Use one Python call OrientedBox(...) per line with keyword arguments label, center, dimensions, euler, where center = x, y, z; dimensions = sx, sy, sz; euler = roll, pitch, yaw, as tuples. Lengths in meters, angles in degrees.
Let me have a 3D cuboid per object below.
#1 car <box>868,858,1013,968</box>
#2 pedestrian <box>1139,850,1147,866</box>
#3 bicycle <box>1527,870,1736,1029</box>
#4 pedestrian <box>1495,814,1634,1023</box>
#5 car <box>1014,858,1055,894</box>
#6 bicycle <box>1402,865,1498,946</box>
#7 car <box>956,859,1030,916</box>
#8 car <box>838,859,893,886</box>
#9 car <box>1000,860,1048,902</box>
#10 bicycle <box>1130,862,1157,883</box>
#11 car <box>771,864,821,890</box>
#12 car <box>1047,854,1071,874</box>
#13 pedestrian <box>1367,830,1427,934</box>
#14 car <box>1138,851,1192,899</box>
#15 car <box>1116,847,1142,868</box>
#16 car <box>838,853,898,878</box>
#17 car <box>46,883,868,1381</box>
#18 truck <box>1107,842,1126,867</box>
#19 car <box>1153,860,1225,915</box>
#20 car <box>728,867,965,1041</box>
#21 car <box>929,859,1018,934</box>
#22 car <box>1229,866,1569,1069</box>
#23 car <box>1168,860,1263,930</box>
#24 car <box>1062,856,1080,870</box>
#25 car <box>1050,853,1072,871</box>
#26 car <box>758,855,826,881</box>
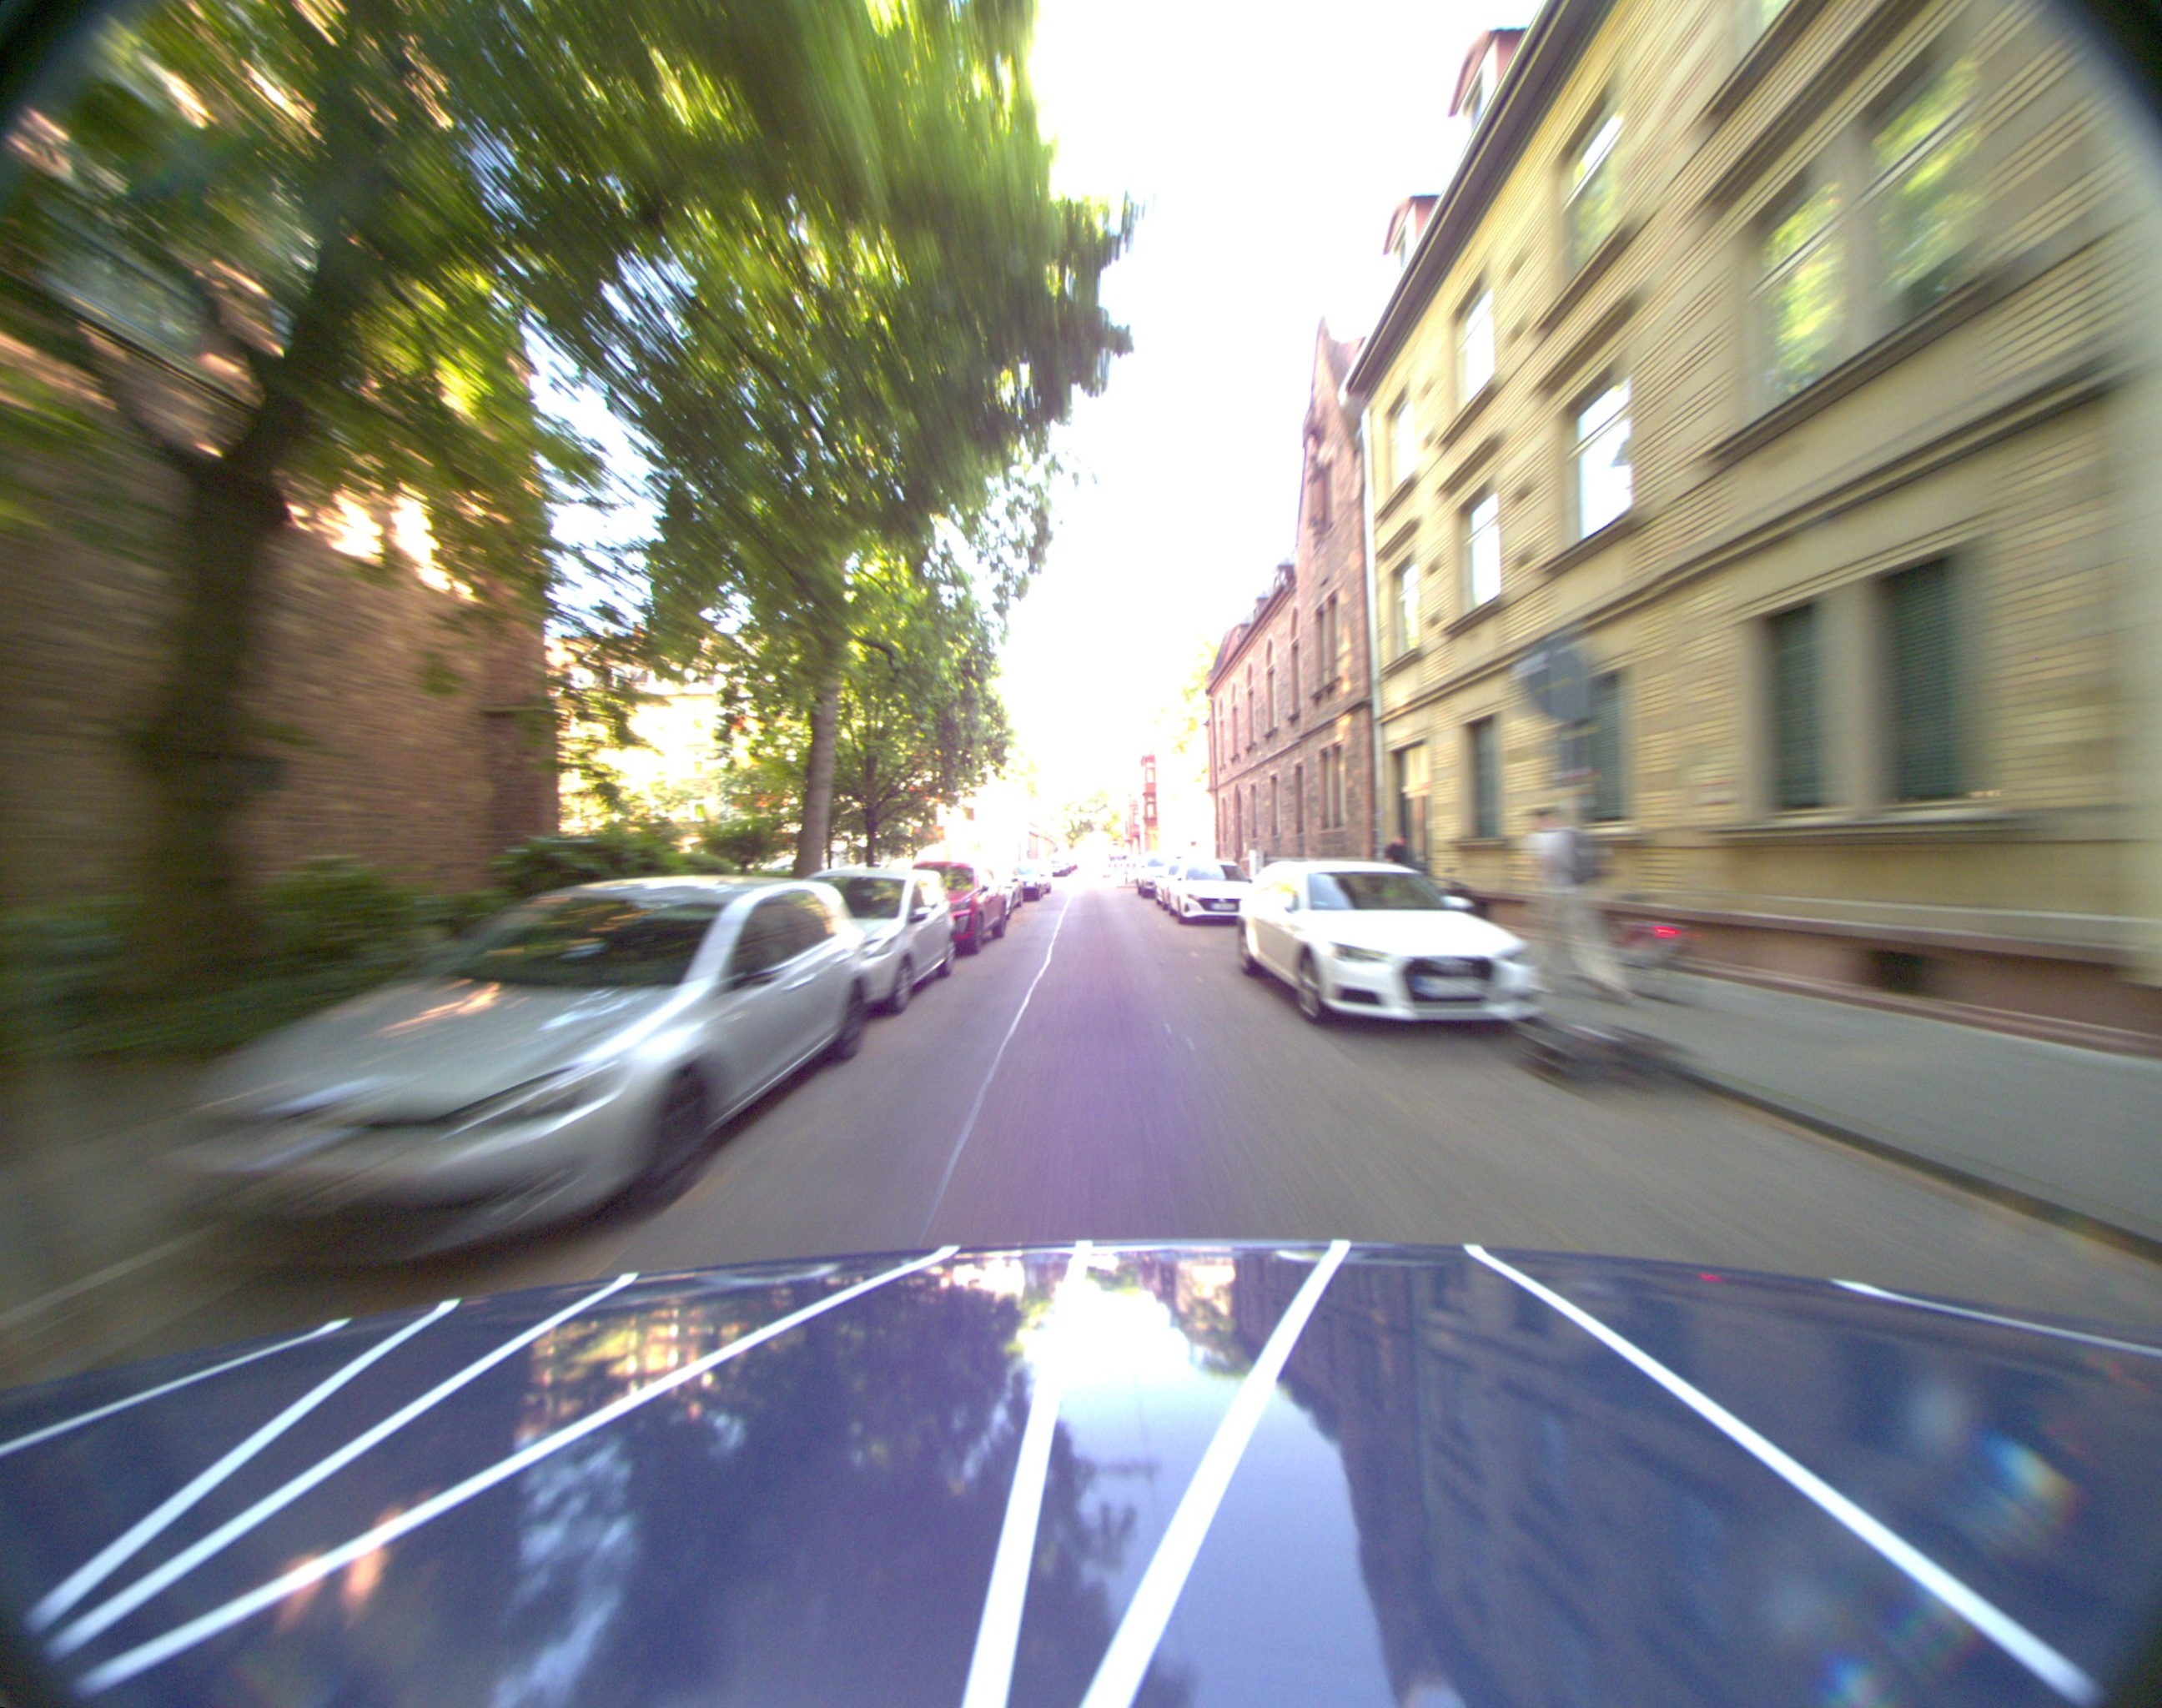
OrientedBox(label="car", center=(-2.410, 0.949, 14.073), dimensions=(1.668, 1.577, 4.100), euler=(3, 1, 3))
OrientedBox(label="pedestrian", center=(6.334, 0.416, 78.023), dimensions=(0.670, 1.585, 0.597), euler=(-2, 0, -3))
OrientedBox(label="bicycle", center=(5.095, 0.809, 7.207), dimensions=(0.572, 1.236, 1.844), euler=(-5, 0, 0))
OrientedBox(label="pedestrian", center=(4.515, 0.564, 7.177), dimensions=(0.489, 1.793, 1.115), euler=(-4, 1, -1))
OrientedBox(label="car", center=(-2.100, 0.958, 35.335), dimensions=(1.713, 1.511, 3.831), euler=(0, 1, -1))
OrientedBox(label="bicycle", center=(5.925, 0.783, 12.312), dimensions=(0.572, 1.141, 1.844), euler=(-5, 0, 0))
OrientedBox(label="car", center=(-2.709, 0.981, 24.207), dimensions=(1.668, 1.511, 4.060), euler=(3, 1, 2))
OrientedBox(label="car", center=(-12.831, 1.052, 45.018), dimensions=(1.785, 1.423, 4.404), euler=(-3, 2, -34))
OrientedBox(label="car", center=(-2.178, 1.007, 29.850), dimensions=(1.625, 1.428, 4.002), euler=(0, 1, -1))
OrientedBox(label="bicycle", center=(3.230, 0.951, 39.222), dimensions=(0.234, 1.037, 1.679), euler=(-5, 2, -39))
OrientedBox(label="car", center=(-17.332, 1.355, 46.087), dimensions=(1.785, 1.423, 4.404), euler=(-3, 2, -34))
OrientedBox(label="car", center=(-1.824, 0.792, 64.436), dimensions=(1.845, 1.643, 4.000), euler=(0, 0, 1))
OrientedBox(label="pedestrian", center=(6.042, 0.526, 14.566), dimensions=(0.768, 1.917, 0.763), euler=(-2, 1, -3))
OrientedBox(label="car", center=(3.123, 0.739, 29.009), dimensions=(1.713, 1.664, 4.278), euler=(0, 1, 2))
OrientedBox(label="car", center=(4.088, 0.295, 64.871), dimensions=(1.776, 1.695, 3.999), euler=(-2, 0, -3))
OrientedBox(label="car", center=(-14.973, 0.801, 53.516), dimensions=(3.695, 1.550, 1.649), euler=(-2, 3, 0))
OrientedBox(label="car", center=(-2.646, 1.015, 4.497), dimensions=(1.603, 1.462, 3.869), euler=(1, 1, 1))
OrientedBox(label="truck", center=(3.849, 0.095, 83.369), dimensions=(1.971, 2.643, 5.885), euler=(0, 0, 1))
OrientedBox(label="car", center=(3.167, 0.939, 22.861), dimensions=(1.713, 1.409, 3.803), euler=(0, 1, 2))
OrientedBox(label="car", center=(-2.568, 1.005, 9.252), dimensions=(1.603, 1.496, 3.720), euler=(3, 1, 1))
OrientedBox(label="car", center=(-2.598, 0.979, 19.118), dimensions=(1.668, 1.511, 3.950), euler=(3, 1, -1))
OrientedBox(label="car", center=(2.848, 0.892, 8.014), dimensions=(1.735, 1.447, 4.521), euler=(0, 0, 1))
OrientedBox(label="car", center=(3.099, 0.902, 18.202), dimensions=(1.713, 1.409, 3.803), euler=(0, 1, 2))
OrientedBox(label="car", center=(-1.301, 1.095, 96.028), dimensions=(1.998, 1.659, 4.001), euler=(-2, 0, 2))
OrientedBox(label="car", center=(-2.047, 0.796, 75.339), dimensions=(1.999, 1.659, 3.999), euler=(-2, 0, -3))
OrientedBox(label="car", center=(-20.353, 0.995, 53.630), dimensions=(4.036, 1.608, 1.649), euler=(-2, 3, 0))
